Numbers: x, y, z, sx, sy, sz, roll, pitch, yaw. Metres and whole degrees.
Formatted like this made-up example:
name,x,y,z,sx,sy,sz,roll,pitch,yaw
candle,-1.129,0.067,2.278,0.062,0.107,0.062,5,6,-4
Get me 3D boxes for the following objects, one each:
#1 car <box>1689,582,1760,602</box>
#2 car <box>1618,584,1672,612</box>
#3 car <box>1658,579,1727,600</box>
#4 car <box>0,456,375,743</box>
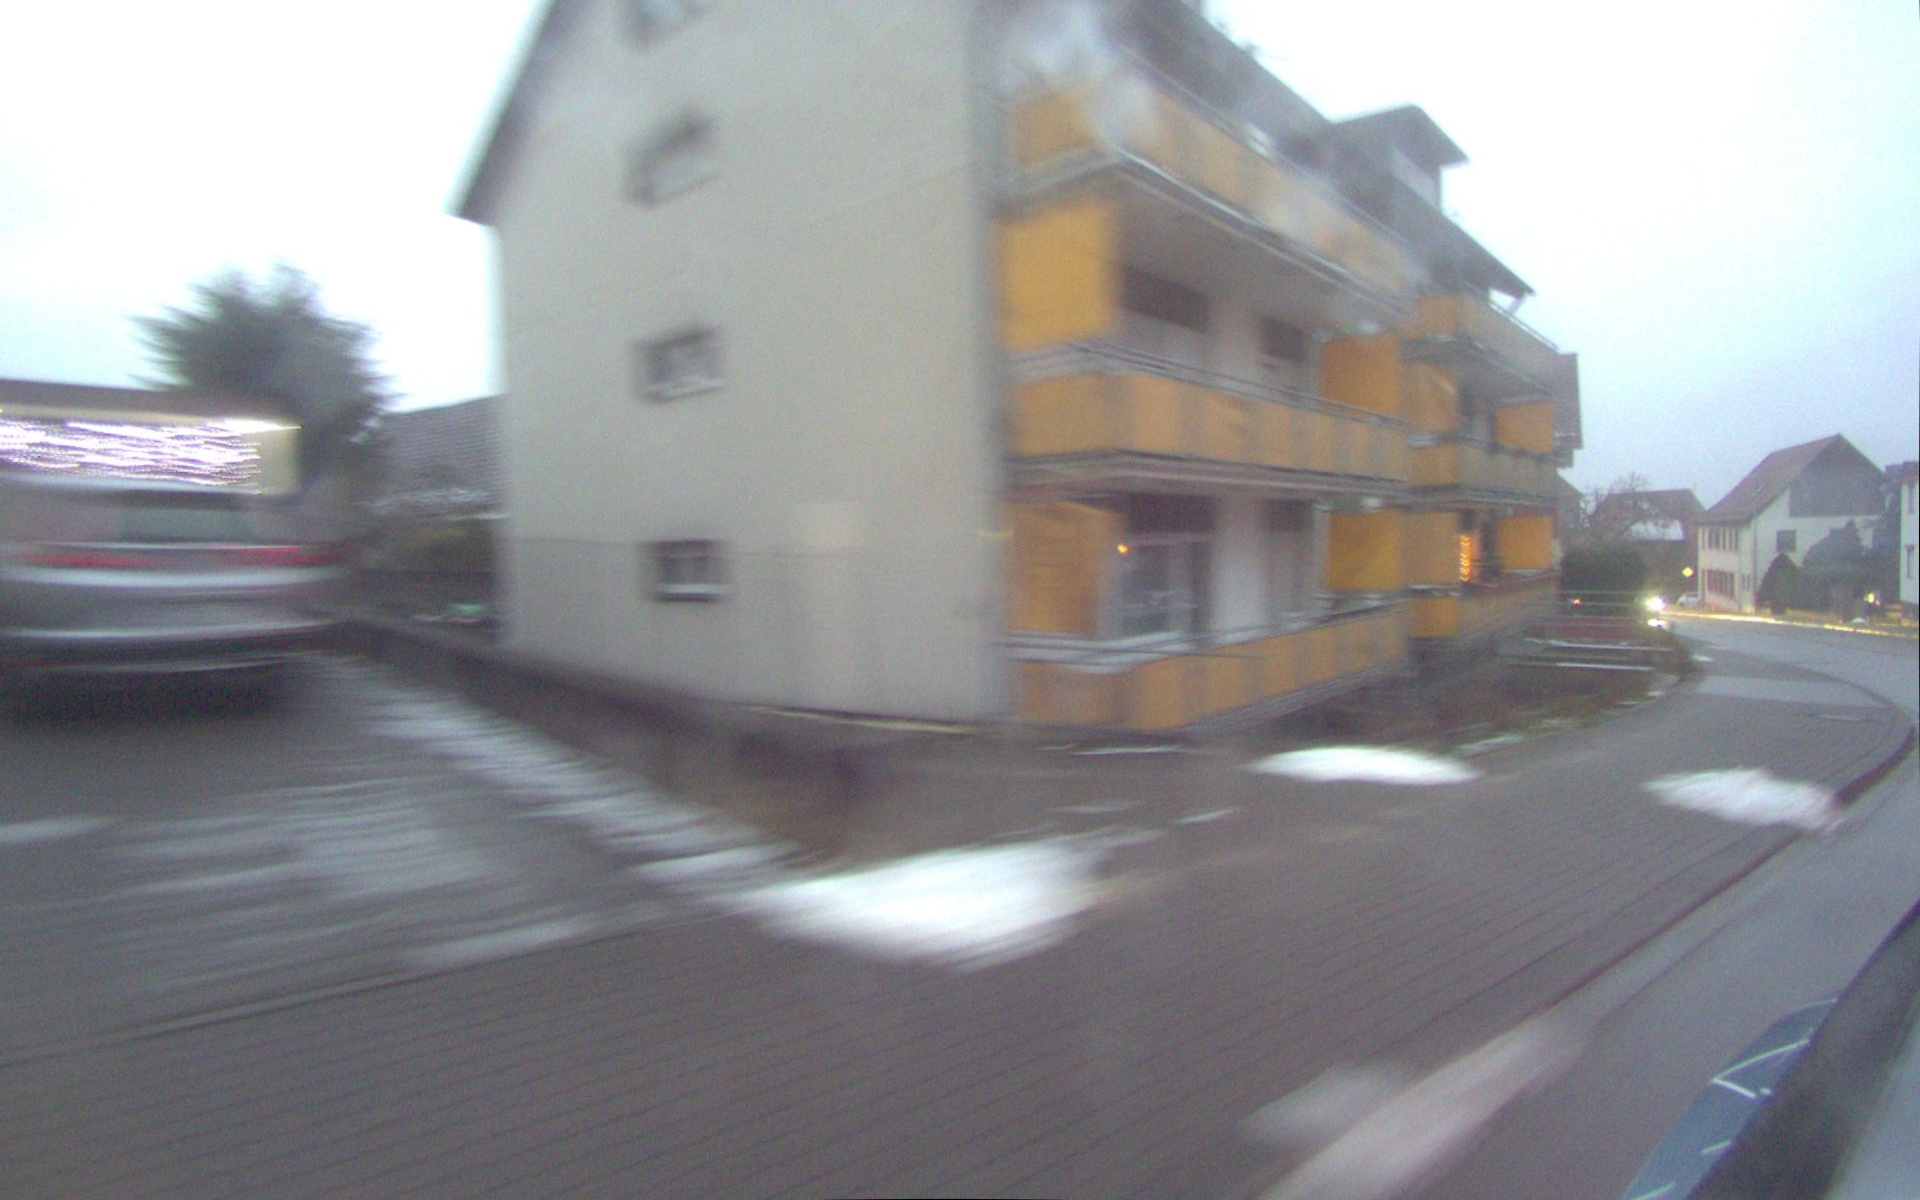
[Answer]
name,x,y,z,sx,sy,sz,roll,pitch,yaw
car,58.905,-0.620,78.067,1.959,1.443,4.243,-2,1,-7
car,38.904,-0.121,57.579,1.713,1.449,4.758,-2,1,25
car,62.078,-0.890,85.901,4.438,1.599,1.981,-2,1,28
car,-6.622,-0.205,7.950,4.245,1.668,2.036,7,4,37
